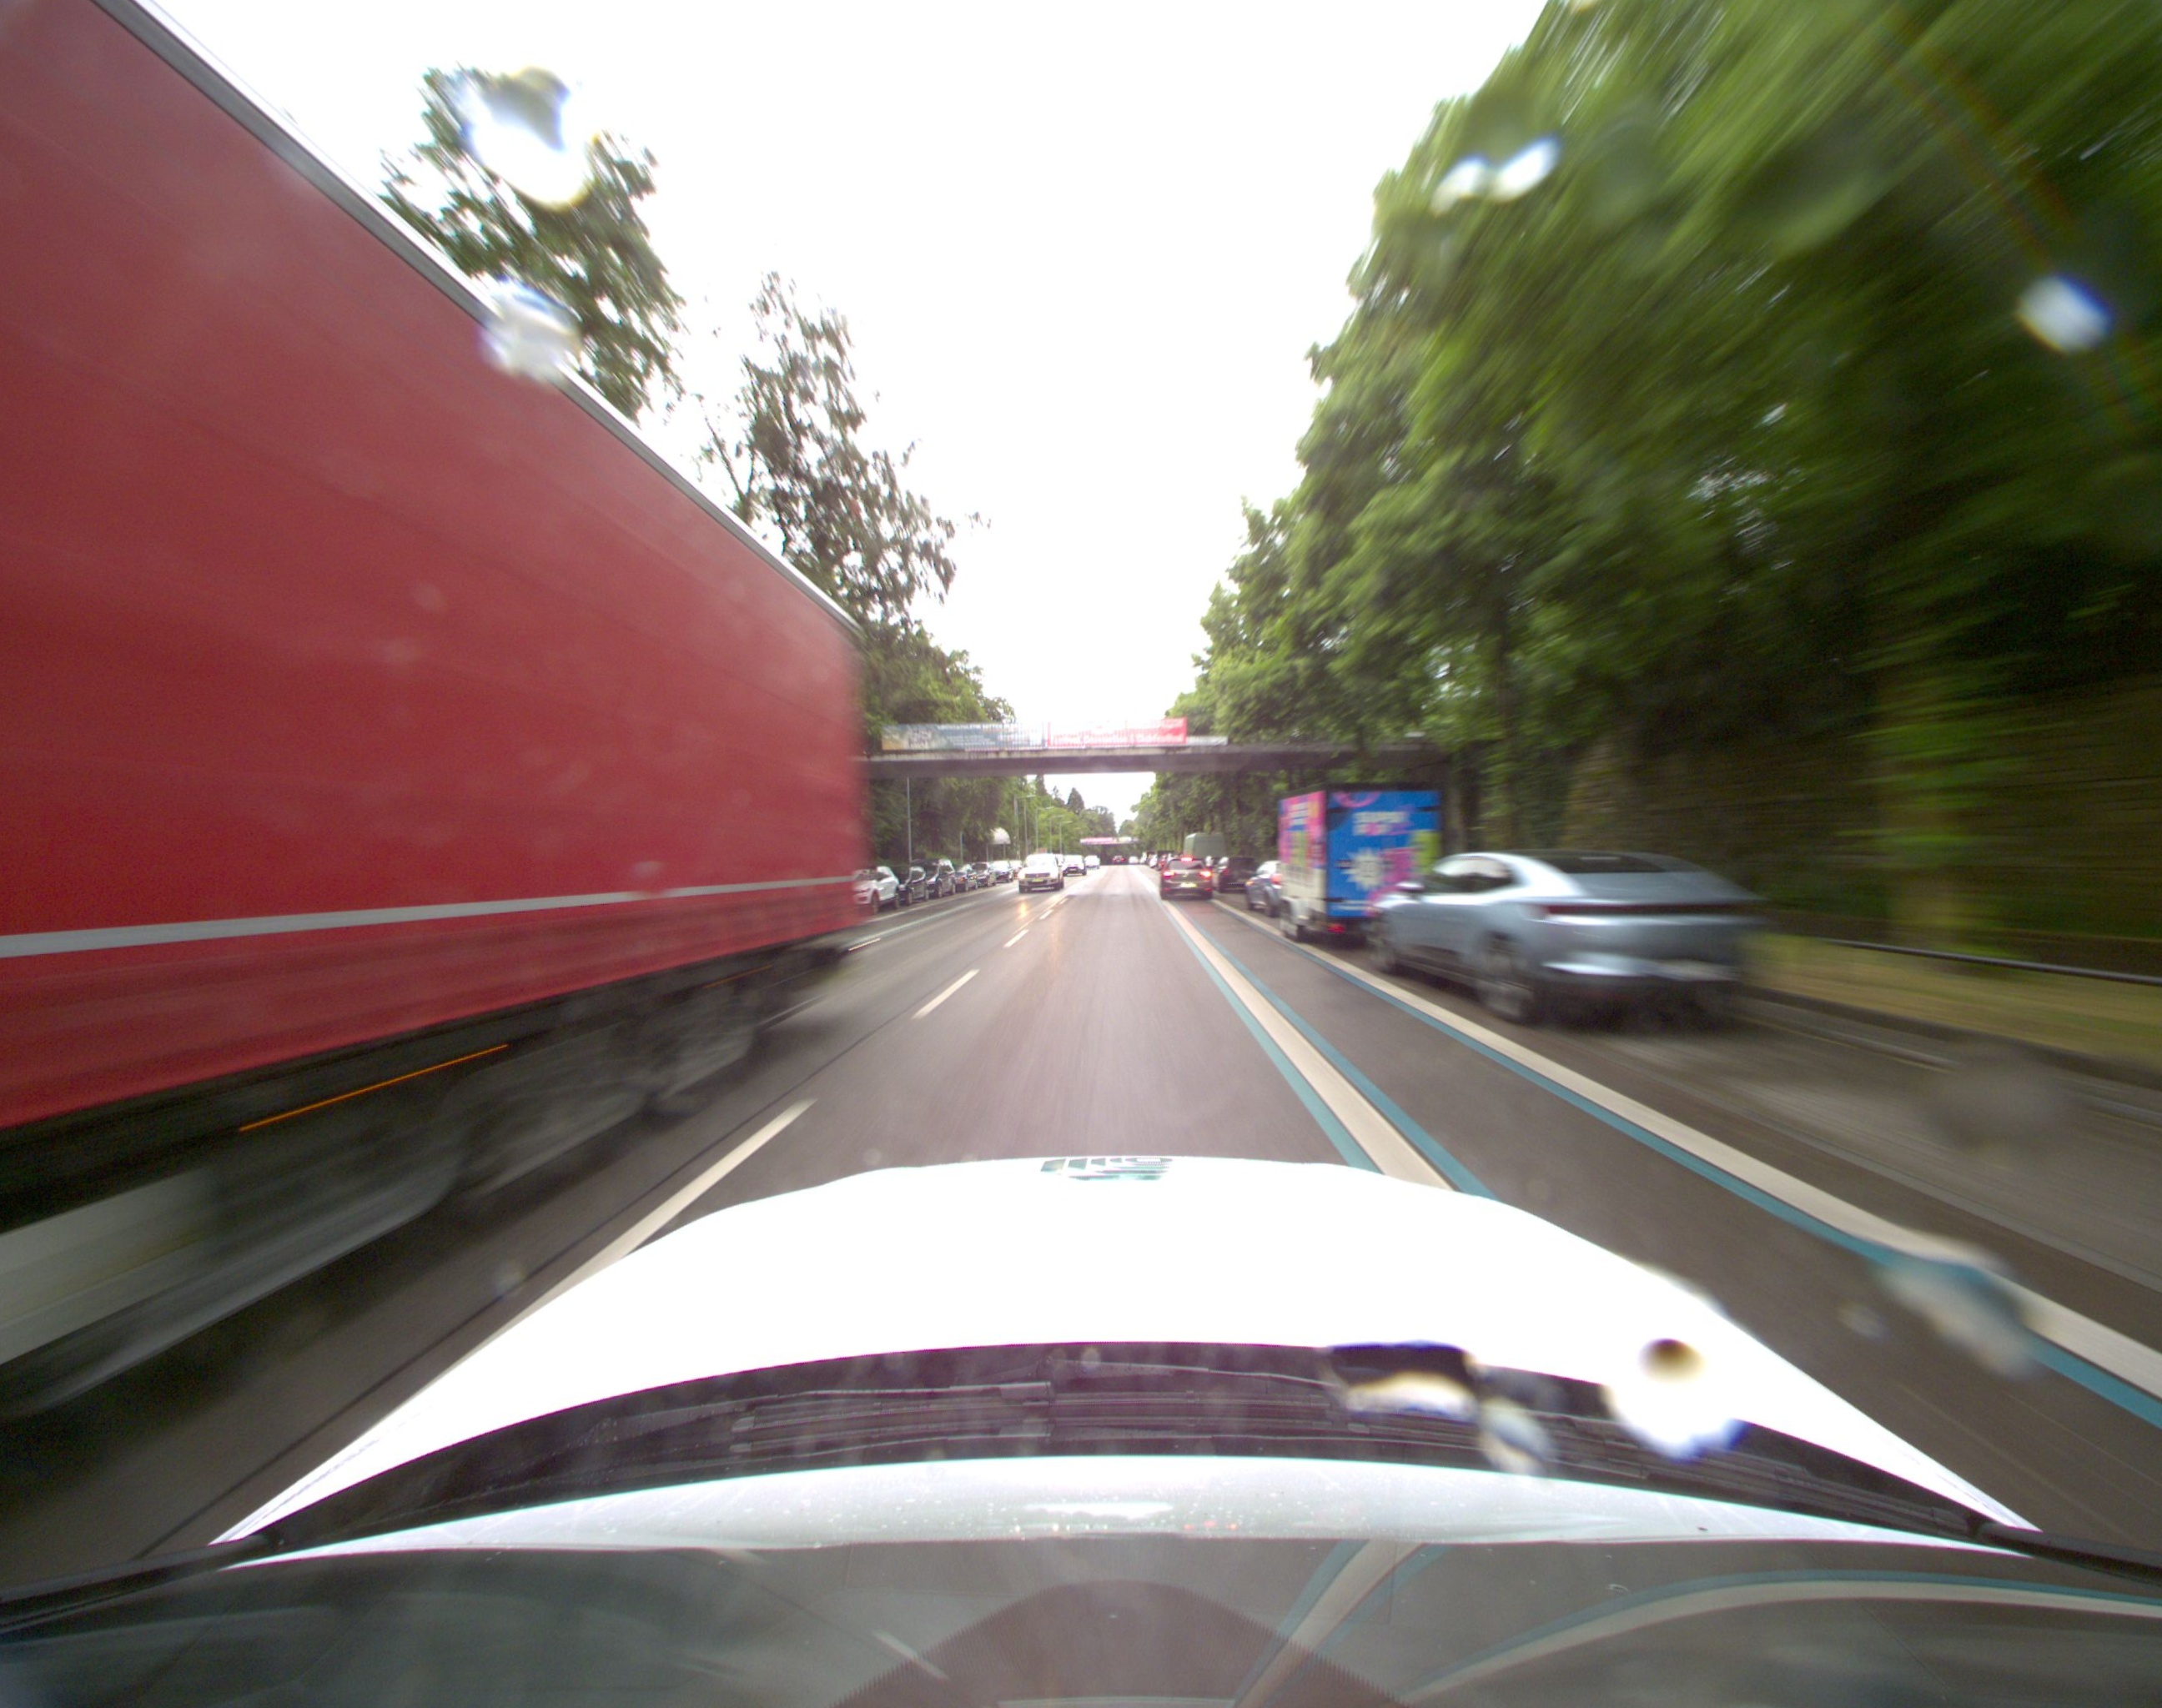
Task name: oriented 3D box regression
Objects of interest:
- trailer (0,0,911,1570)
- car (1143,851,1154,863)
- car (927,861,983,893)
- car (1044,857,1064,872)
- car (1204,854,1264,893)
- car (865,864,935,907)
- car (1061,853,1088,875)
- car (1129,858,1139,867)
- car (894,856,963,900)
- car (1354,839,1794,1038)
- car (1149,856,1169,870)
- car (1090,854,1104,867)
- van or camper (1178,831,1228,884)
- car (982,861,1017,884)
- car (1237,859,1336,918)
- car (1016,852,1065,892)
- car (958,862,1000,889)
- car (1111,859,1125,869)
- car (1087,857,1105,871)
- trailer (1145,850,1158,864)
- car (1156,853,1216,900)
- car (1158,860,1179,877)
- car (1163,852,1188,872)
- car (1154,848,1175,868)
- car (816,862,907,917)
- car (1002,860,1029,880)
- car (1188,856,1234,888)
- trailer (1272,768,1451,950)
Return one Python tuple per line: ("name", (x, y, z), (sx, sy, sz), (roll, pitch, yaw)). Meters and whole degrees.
("trailer", (-3.699, -0.524, 3.035), (2.677, 4.259, 12.776), (-4, 0, 2))
("car", (11.969, 0.544, 144.711), (1.881, 2.127, 4.049), (-1, 0, 4))
("car", (-6.447, 1.161, 42.193), (1.976, 1.472, 4.900), (-1, 0, 2))
("car", (-3.384, 1.299, 102.628), (1.981, 1.605, 4.990), (-2, 0, 4))
("car", (6.058, 0.722, 32.682), (1.680, 1.416, 4.198), (-2, 0, 1))
("car", (-6.876, 1.164, 31.339), (1.603, 1.439, 3.846), (-2, 0, 3))
("car", (-0.488, 0.776, 66.083), (1.958, 1.627, 4.323), (-2, 0, 2))
("car", (9.455, 1.532, 145.334), (1.724, 1.583, 4.039), (-2, 0, 2))
("car", (-6.790, 1.007, 36.708), (1.983, 1.742, 4.840), (-2, 0, 2))
("car", (4.646, 0.652, 8.731), (1.893, 1.547, 4.755), (0, 0, 0))
("car", (8.608, 0.976, 89.879), (1.783, 1.543, 4.890), (0, 0, 1))
("car", (2.355, 0.937, 118.870), (1.788, 1.652, 4.133), (-3, 0, 3))
("van or camper", (6.690, 0.163, 45.438), (2.034, 2.729, 6.904), (0, 0, 2))
("car", (-5.530, 1.228, 55.846), (1.950, 1.463, 4.756), (-1, 0, 0))
("car", (5.136, 0.815, 20.810), (1.579, 1.353, 3.862), (0, 0, 0))
("car", (-1.789, 0.778, 37.320), (1.827, 1.666, 4.183), (-1, 0, 2))
("car", (-6.003, 1.229, 48.573), (1.777, 1.423, 4.298), (-2, 0, 2))
("car", (5.932, 1.635, 130.297), (2.133, 1.492, 4.499), (-1, 0, 1))
("car", (1.753, 1.120, 94.525), (1.913, 1.560, 4.624), (0, 0, 3))
("trailer", (11.046, 0.519, 128.112), (1.876, 2.166, 3.811), (-2, 0, 3))
("car", (3.583, 0.725, 28.390), (1.810, 1.508, 4.143), (-1, 0, 4))
("car", (7.966, 1.321, 74.080), (1.679, 1.453, 4.169), (0, 0, 3))
("car", (7.671, 0.643, 66.378), (1.749, 1.589, 4.502), (0, 0, 3))
("car", (8.731, 0.379, 84.956), (1.918, 2.022, 4.667), (-1, 0, 3))
("car", (-7.113, 1.093, 26.869), (1.681, 1.546, 4.235), (-2, 0, 2))
("car", (-5.212, 1.303, 65.609), (1.664, 1.457, 3.995), (-2, 0, 2))
("car", (6.019, 0.792, 38.124), (1.679, 1.416, 4.103), (-1, 0, 3))
("trailer", (4.768, 0.082, 14.496), (1.944, 2.758, 4.010), (-1, 0, 3))
